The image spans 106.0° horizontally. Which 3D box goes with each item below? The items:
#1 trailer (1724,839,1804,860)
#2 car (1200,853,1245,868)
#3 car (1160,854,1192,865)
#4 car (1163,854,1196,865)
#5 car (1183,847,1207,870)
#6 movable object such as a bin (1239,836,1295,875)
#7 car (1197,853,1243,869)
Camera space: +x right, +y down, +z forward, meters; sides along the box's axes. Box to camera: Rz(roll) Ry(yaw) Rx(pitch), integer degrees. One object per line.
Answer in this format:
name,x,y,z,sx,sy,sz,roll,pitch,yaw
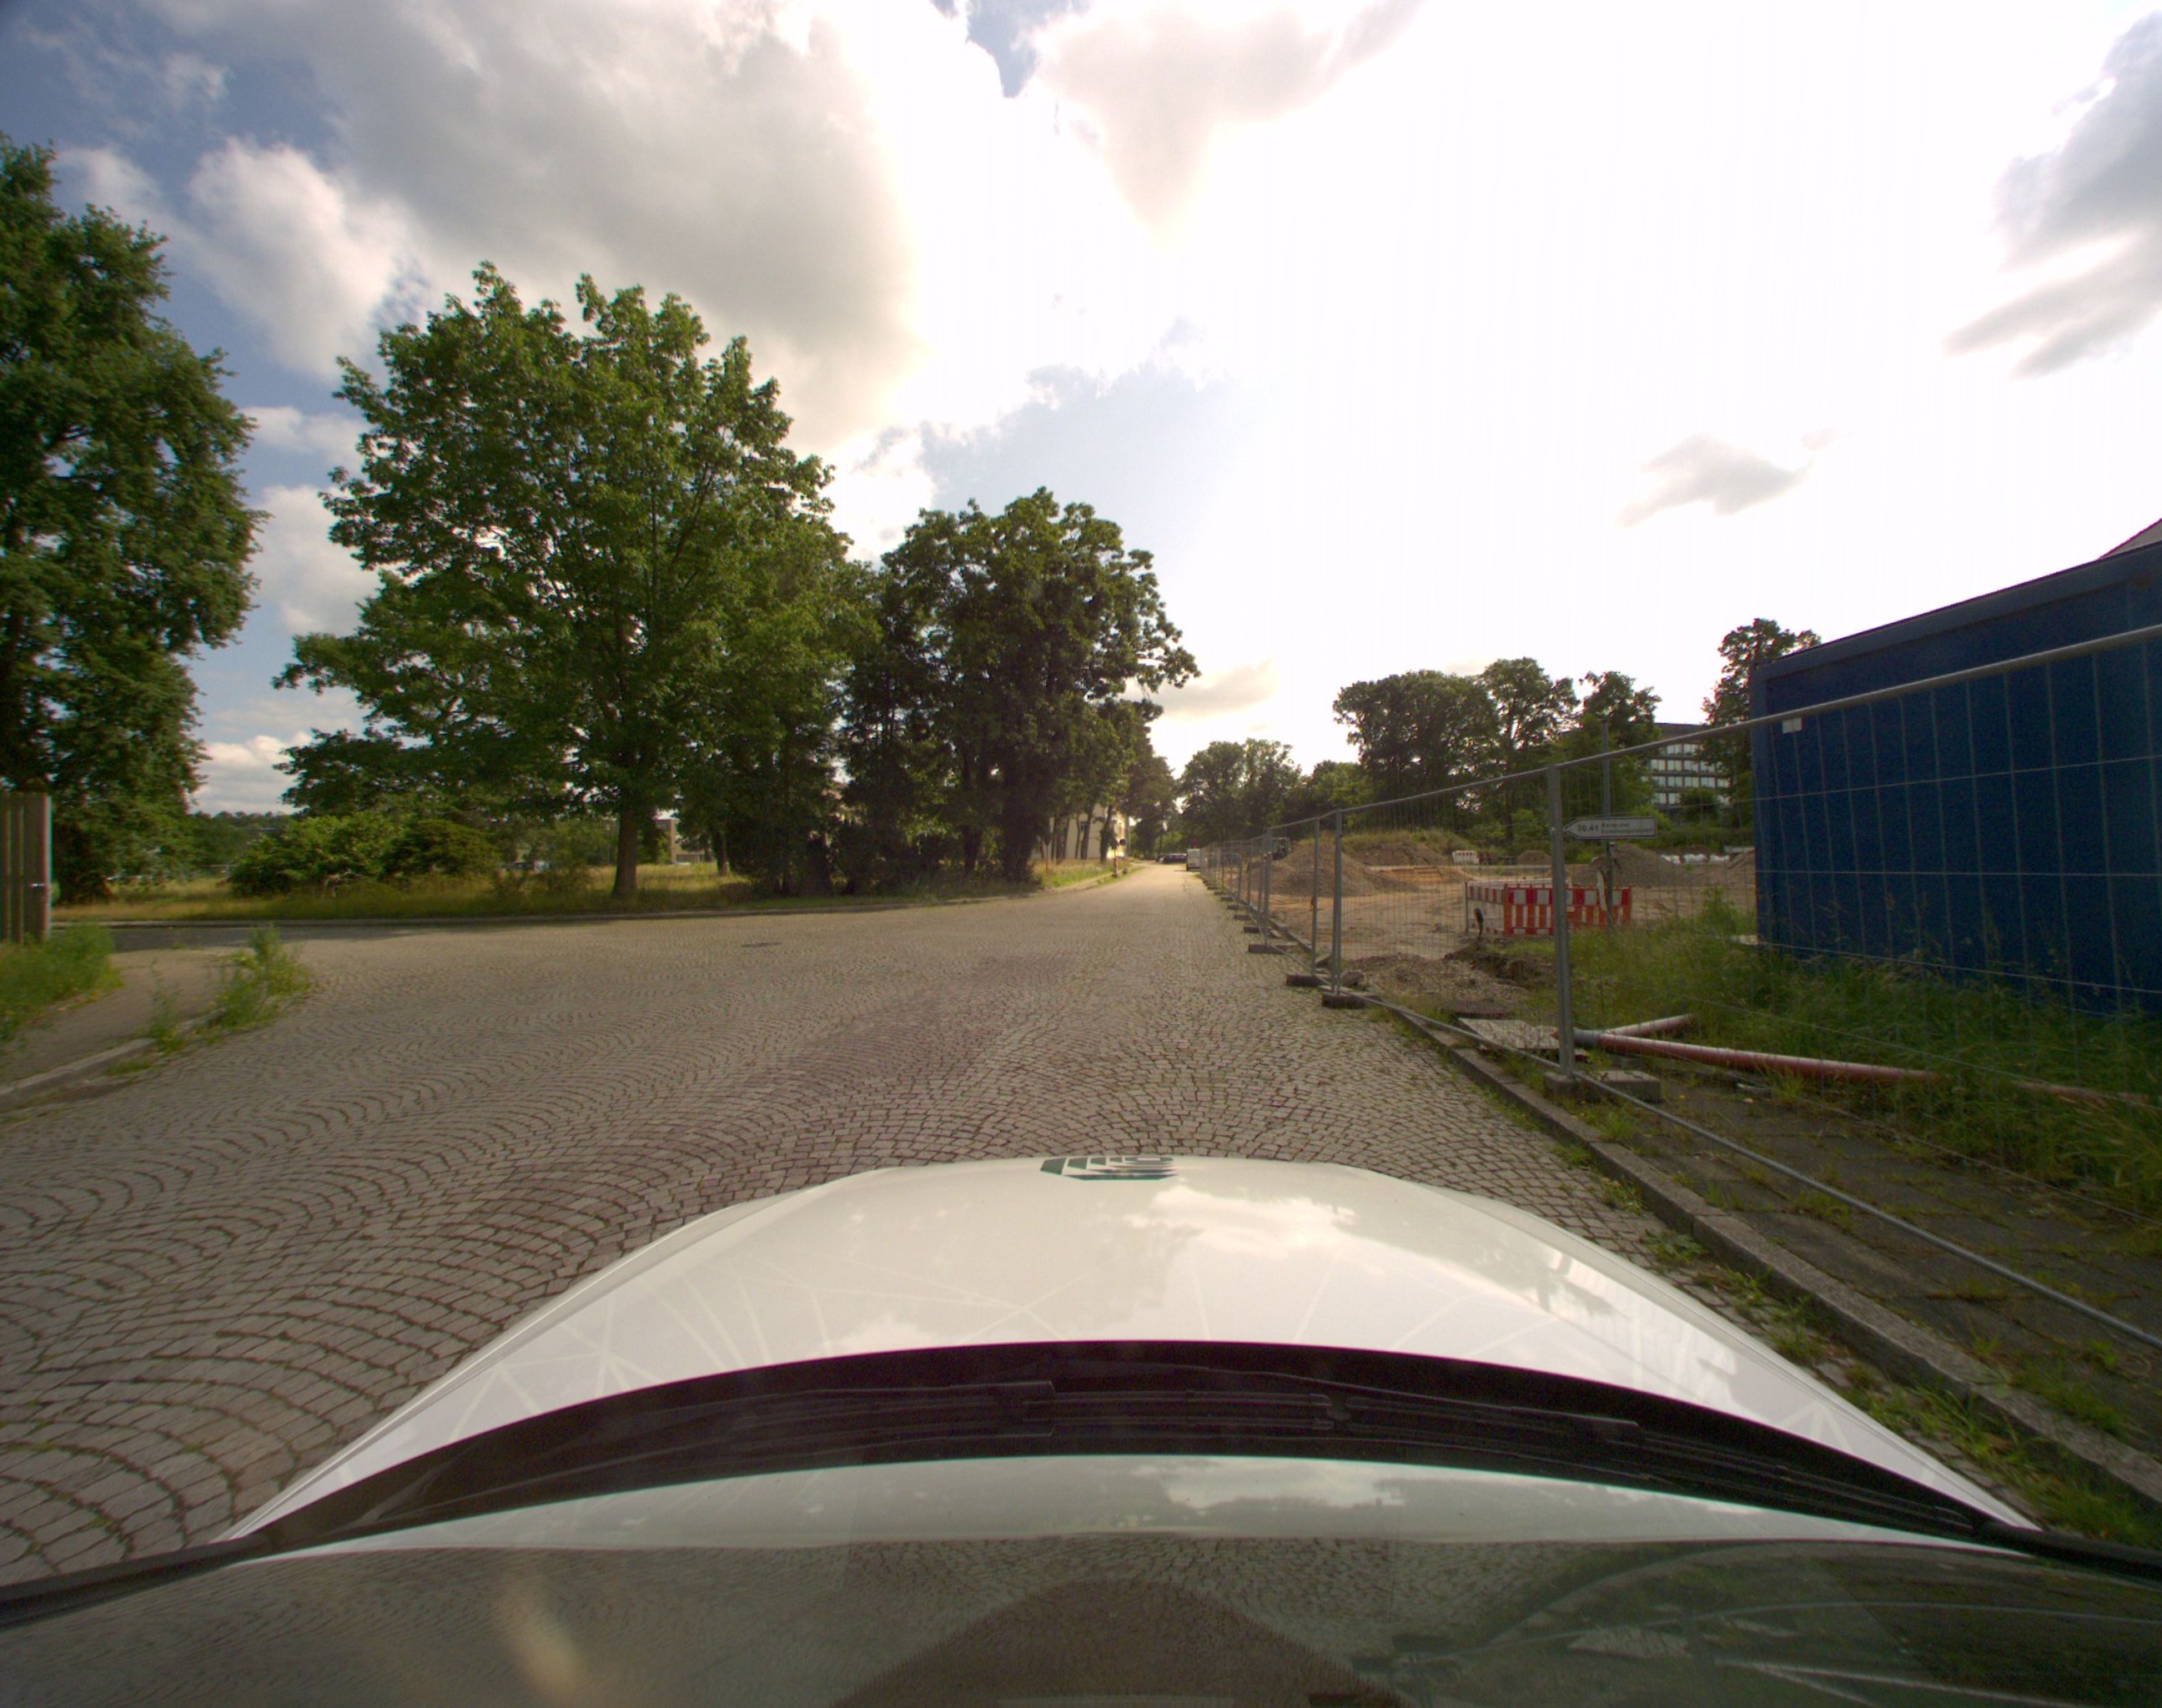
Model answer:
trailer,47.216,-0.279,56.408,3.948,1.354,2.101,-1,0,31
car,14.664,0.675,84.363,4.371,1.510,2.008,0,0,14
car,14.777,0.853,126.440,4.763,1.641,2.000,-1,0,0
car,14.883,0.851,123.307,4.763,1.641,2.000,-1,0,0
car,10.490,0.405,75.237,1.984,2.014,4.096,-1,0,5
movable object such as a bin,13.062,0.073,56.925,2.108,2.593,4.822,-1,0,35
car,13.759,0.673,80.718,4.371,1.510,2.008,0,0,14
